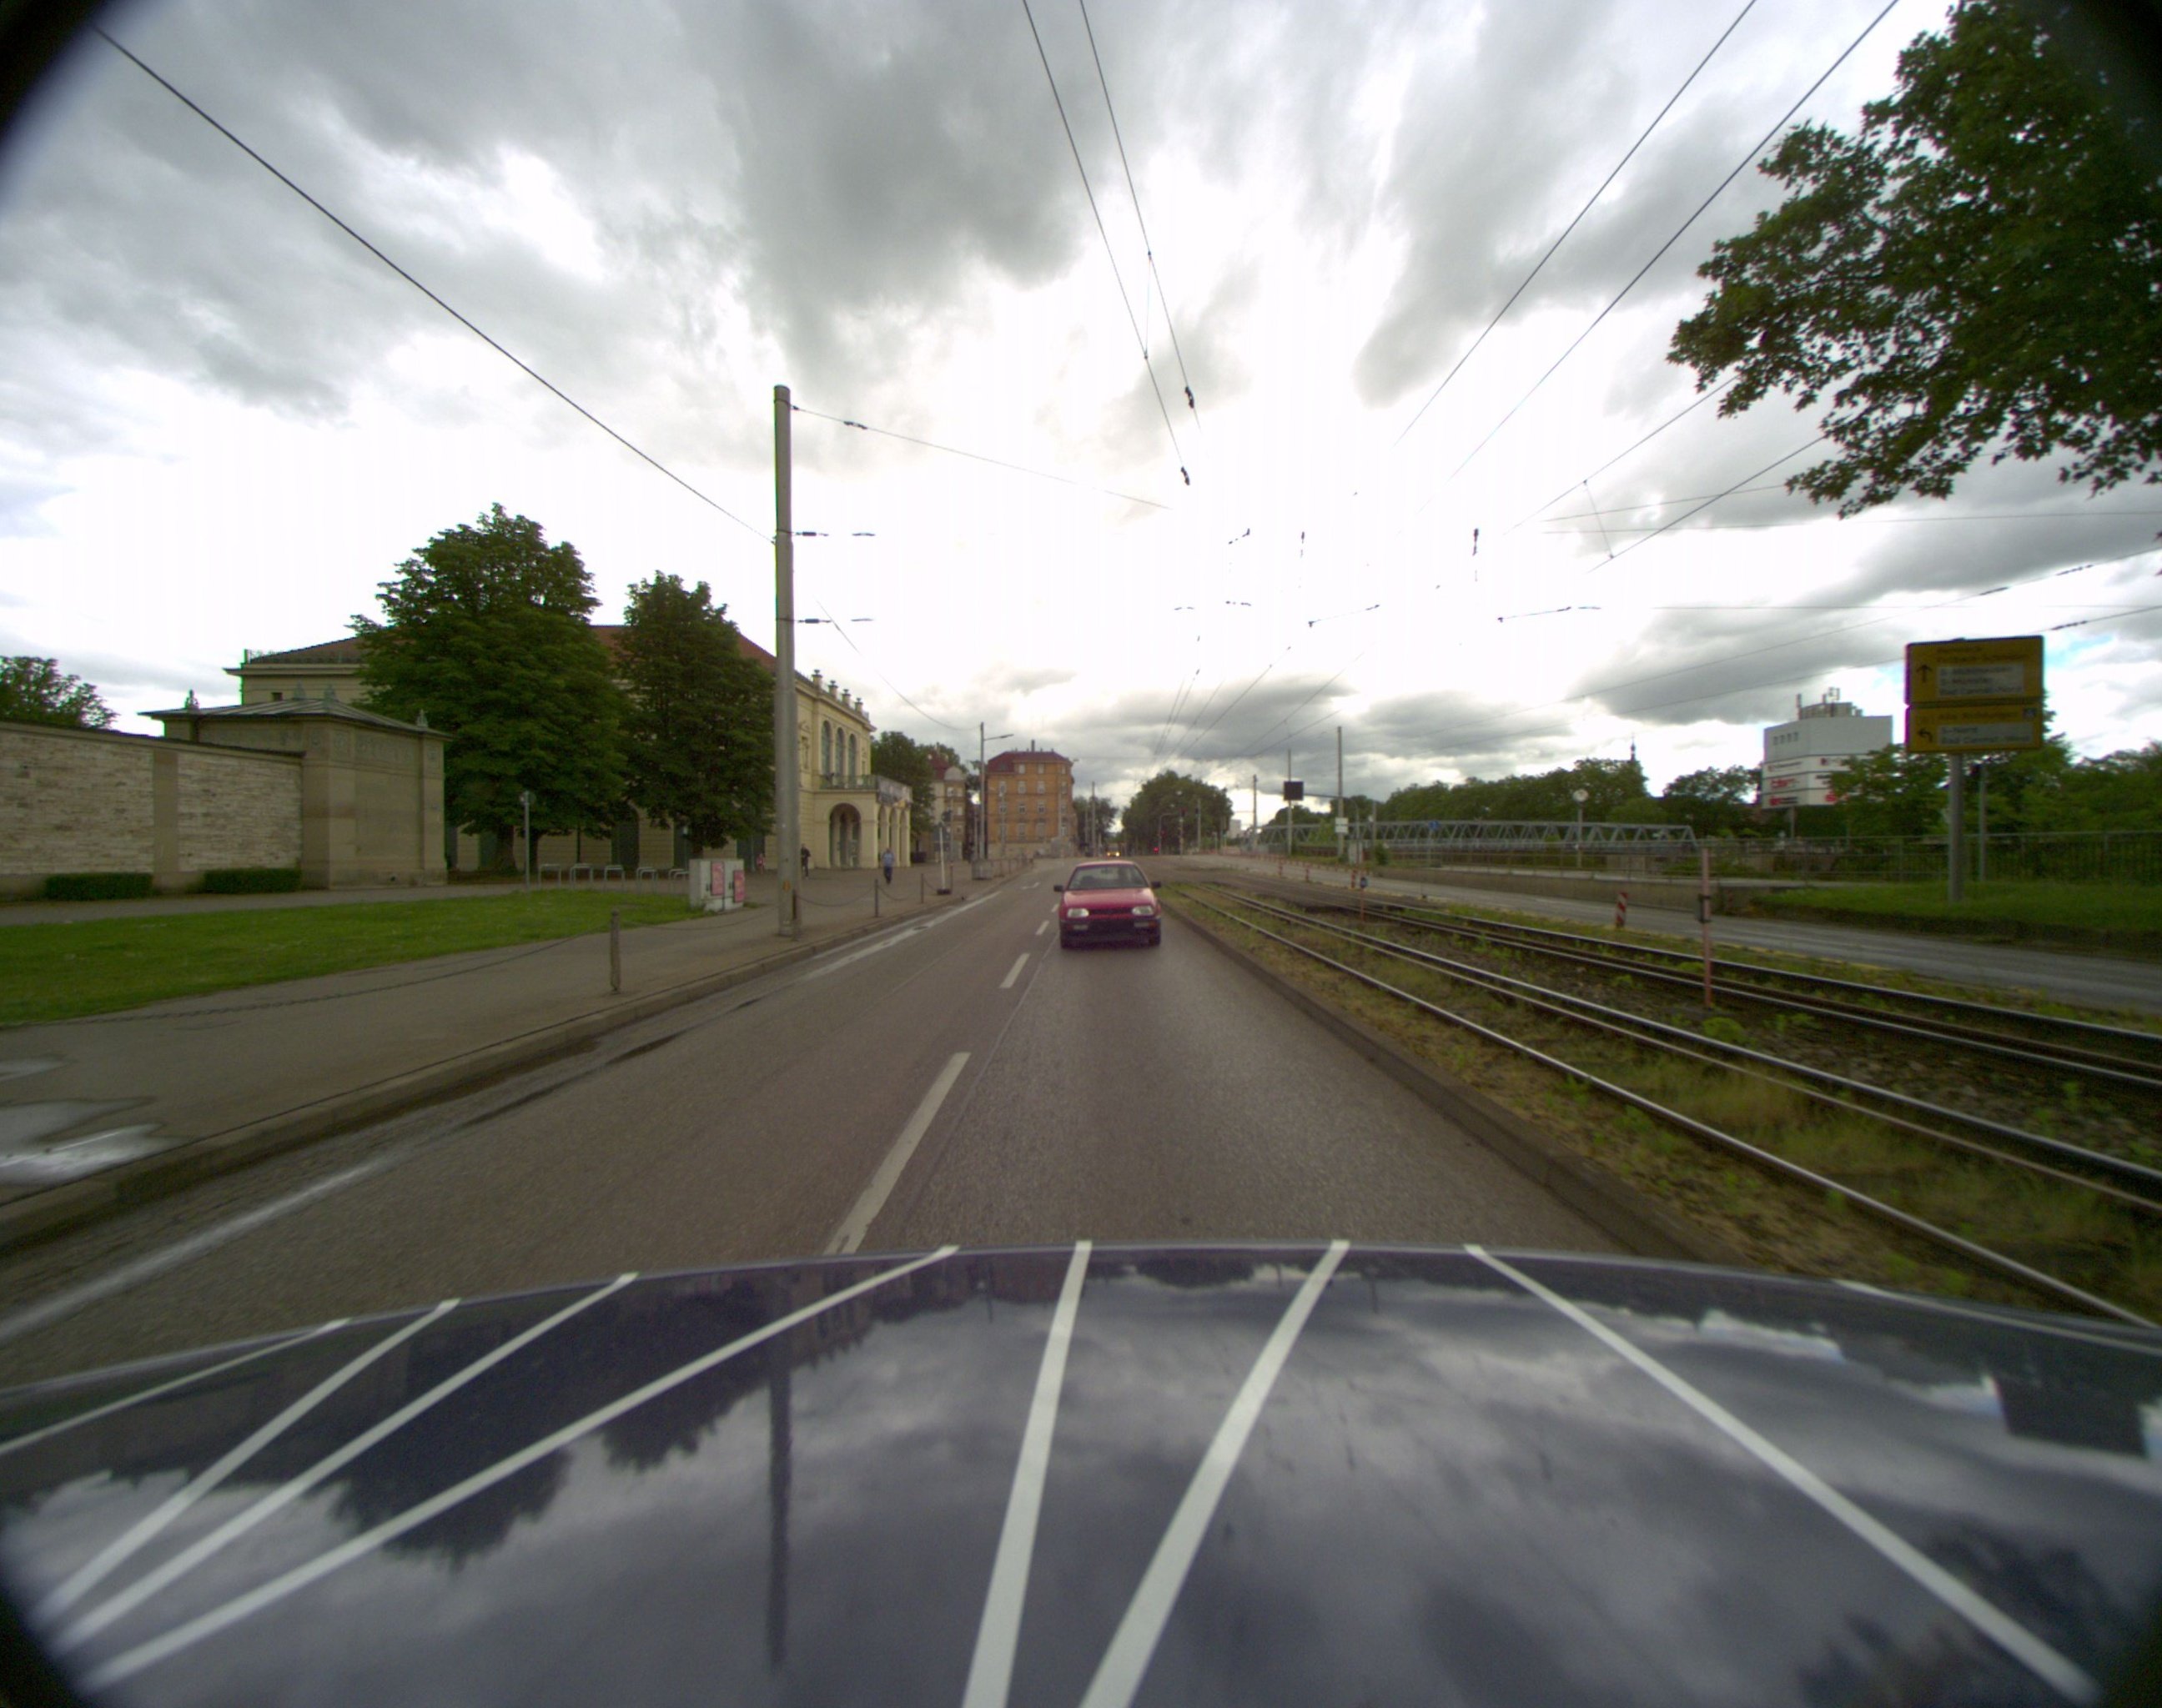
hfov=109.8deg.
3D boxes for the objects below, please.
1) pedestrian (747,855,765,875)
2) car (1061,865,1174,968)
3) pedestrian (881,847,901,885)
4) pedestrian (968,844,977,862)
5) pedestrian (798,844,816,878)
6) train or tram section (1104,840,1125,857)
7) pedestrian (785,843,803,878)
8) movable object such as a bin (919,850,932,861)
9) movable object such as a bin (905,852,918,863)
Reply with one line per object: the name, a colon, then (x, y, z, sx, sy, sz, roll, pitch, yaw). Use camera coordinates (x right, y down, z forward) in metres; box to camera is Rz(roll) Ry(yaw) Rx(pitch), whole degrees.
pedestrian: (-16.833, 0.564, 39.360, 0.760, 0.995, 0.595, -1, 1, -34)
car: (0.582, 0.995, 13.754, 1.681, 1.433, 4.119, -2, 0, 0)
pedestrian: (-8.903, 0.544, 35.609, 0.672, 1.757, 0.937, 0, 1, 1)
pedestrian: (-10.635, -0.104, 74.593, 0.672, 1.757, 0.937, 0, 1, 1)
pedestrian: (-13.855, 0.354, 38.424, 0.598, 1.689, 0.790, 0, 1, 1)
train or tram section: (7.405, -1.305, 169.626, 3.739, 3.346, 17.552, 1, 1, 0)
pedestrian: (-14.507, 0.323, 38.391, 0.596, 1.782, 0.808, 0, 1, 1)
movable object such as a bin: (-19.321, 0.192, 94.242, 1.297, 1.361, 1.379, 0, 1, 0)
movable object such as a bin: (-21.084, 0.454, 94.400, 1.297, 1.398, 1.379, 0, 1, 0)
